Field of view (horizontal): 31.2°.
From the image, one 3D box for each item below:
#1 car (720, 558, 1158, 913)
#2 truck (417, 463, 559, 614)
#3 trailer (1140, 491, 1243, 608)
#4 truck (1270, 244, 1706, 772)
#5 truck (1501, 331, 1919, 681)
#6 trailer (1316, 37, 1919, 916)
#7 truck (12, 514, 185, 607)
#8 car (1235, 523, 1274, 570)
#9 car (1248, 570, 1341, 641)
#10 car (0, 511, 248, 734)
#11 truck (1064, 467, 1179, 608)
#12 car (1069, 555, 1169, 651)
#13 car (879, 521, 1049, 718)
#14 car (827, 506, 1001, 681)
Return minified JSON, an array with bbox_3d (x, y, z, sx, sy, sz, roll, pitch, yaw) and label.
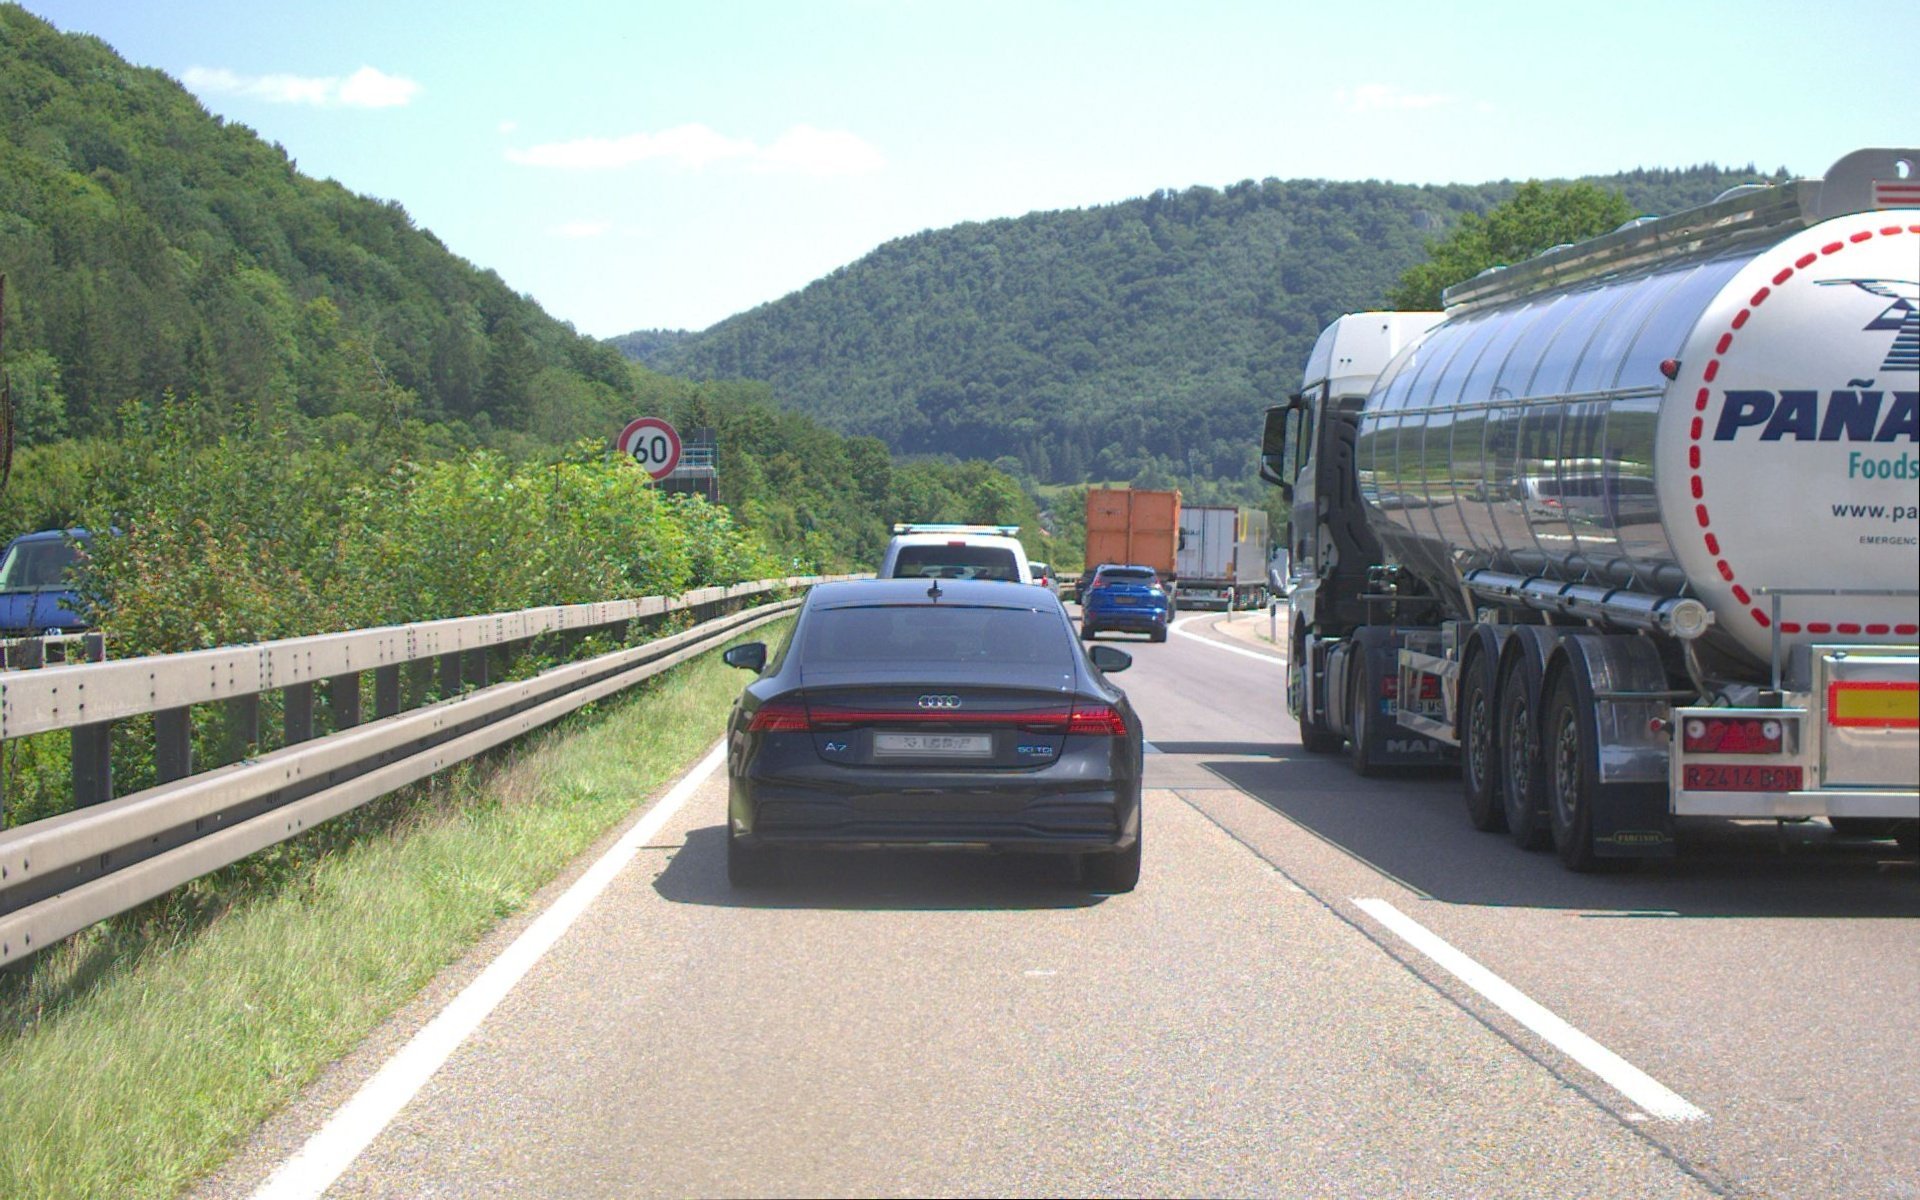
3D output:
[{"bbox_3d":[-0.228,0.548,16.632,1.849,1.483,4.083,0,1,-4],"label":"car"},{"bbox_3d":[-12.857,-1.675,94.616,2.425,3.886,12.283,0,1,-1],"label":"truck"},{"bbox_3d":[8.909,-1.952,133.656,3.015,4.367,10.986,0,1,-1],"label":"trailer"},{"bbox_3d":[4.000,-0.694,27.100,2.511,3.745,5.246,0,1,-1],"label":"truck"},{"bbox_3d":[9.948,-1.181,46.883,2.817,3.989,14.955,0,1,0],"label":"truck"},{"bbox_3d":[4.143,-0.610,20.547,2.538,3.723,11.892,0,1,-1],"label":"trailer"},{"bbox_3d":[-26.478,-1.212,106.133,3.580,2.686,8.449,-1,1,-3],"label":"truck"},{"bbox_3d":[18.418,-3.347,215.046,1.993,2.925,4.899,0,1,0],"label":"car"},{"bbox_3d":[7.448,0.099,76.820,1.747,1.525,4.000,-1,1,1],"label":"car"},{"bbox_3d":[-8.503,0.177,34.343,1.993,2.063,4.839,0,1,-3],"label":"car"},{"bbox_3d":[4.808,-1.888,105.053,2.817,3.989,14.955,0,1,0],"label":"truck"},{"bbox_3d":[3.449,0.036,75.188,1.993,1.996,4.000,-1,1,1],"label":"car"},{"bbox_3d":[0.013,0.152,33.963,1.576,1.827,4.000,0,1,-1],"label":"car"},{"bbox_3d":[-0.558,-0.101,41.568,1.993,2.007,4.000,0,1,-1],"label":"car"}]
